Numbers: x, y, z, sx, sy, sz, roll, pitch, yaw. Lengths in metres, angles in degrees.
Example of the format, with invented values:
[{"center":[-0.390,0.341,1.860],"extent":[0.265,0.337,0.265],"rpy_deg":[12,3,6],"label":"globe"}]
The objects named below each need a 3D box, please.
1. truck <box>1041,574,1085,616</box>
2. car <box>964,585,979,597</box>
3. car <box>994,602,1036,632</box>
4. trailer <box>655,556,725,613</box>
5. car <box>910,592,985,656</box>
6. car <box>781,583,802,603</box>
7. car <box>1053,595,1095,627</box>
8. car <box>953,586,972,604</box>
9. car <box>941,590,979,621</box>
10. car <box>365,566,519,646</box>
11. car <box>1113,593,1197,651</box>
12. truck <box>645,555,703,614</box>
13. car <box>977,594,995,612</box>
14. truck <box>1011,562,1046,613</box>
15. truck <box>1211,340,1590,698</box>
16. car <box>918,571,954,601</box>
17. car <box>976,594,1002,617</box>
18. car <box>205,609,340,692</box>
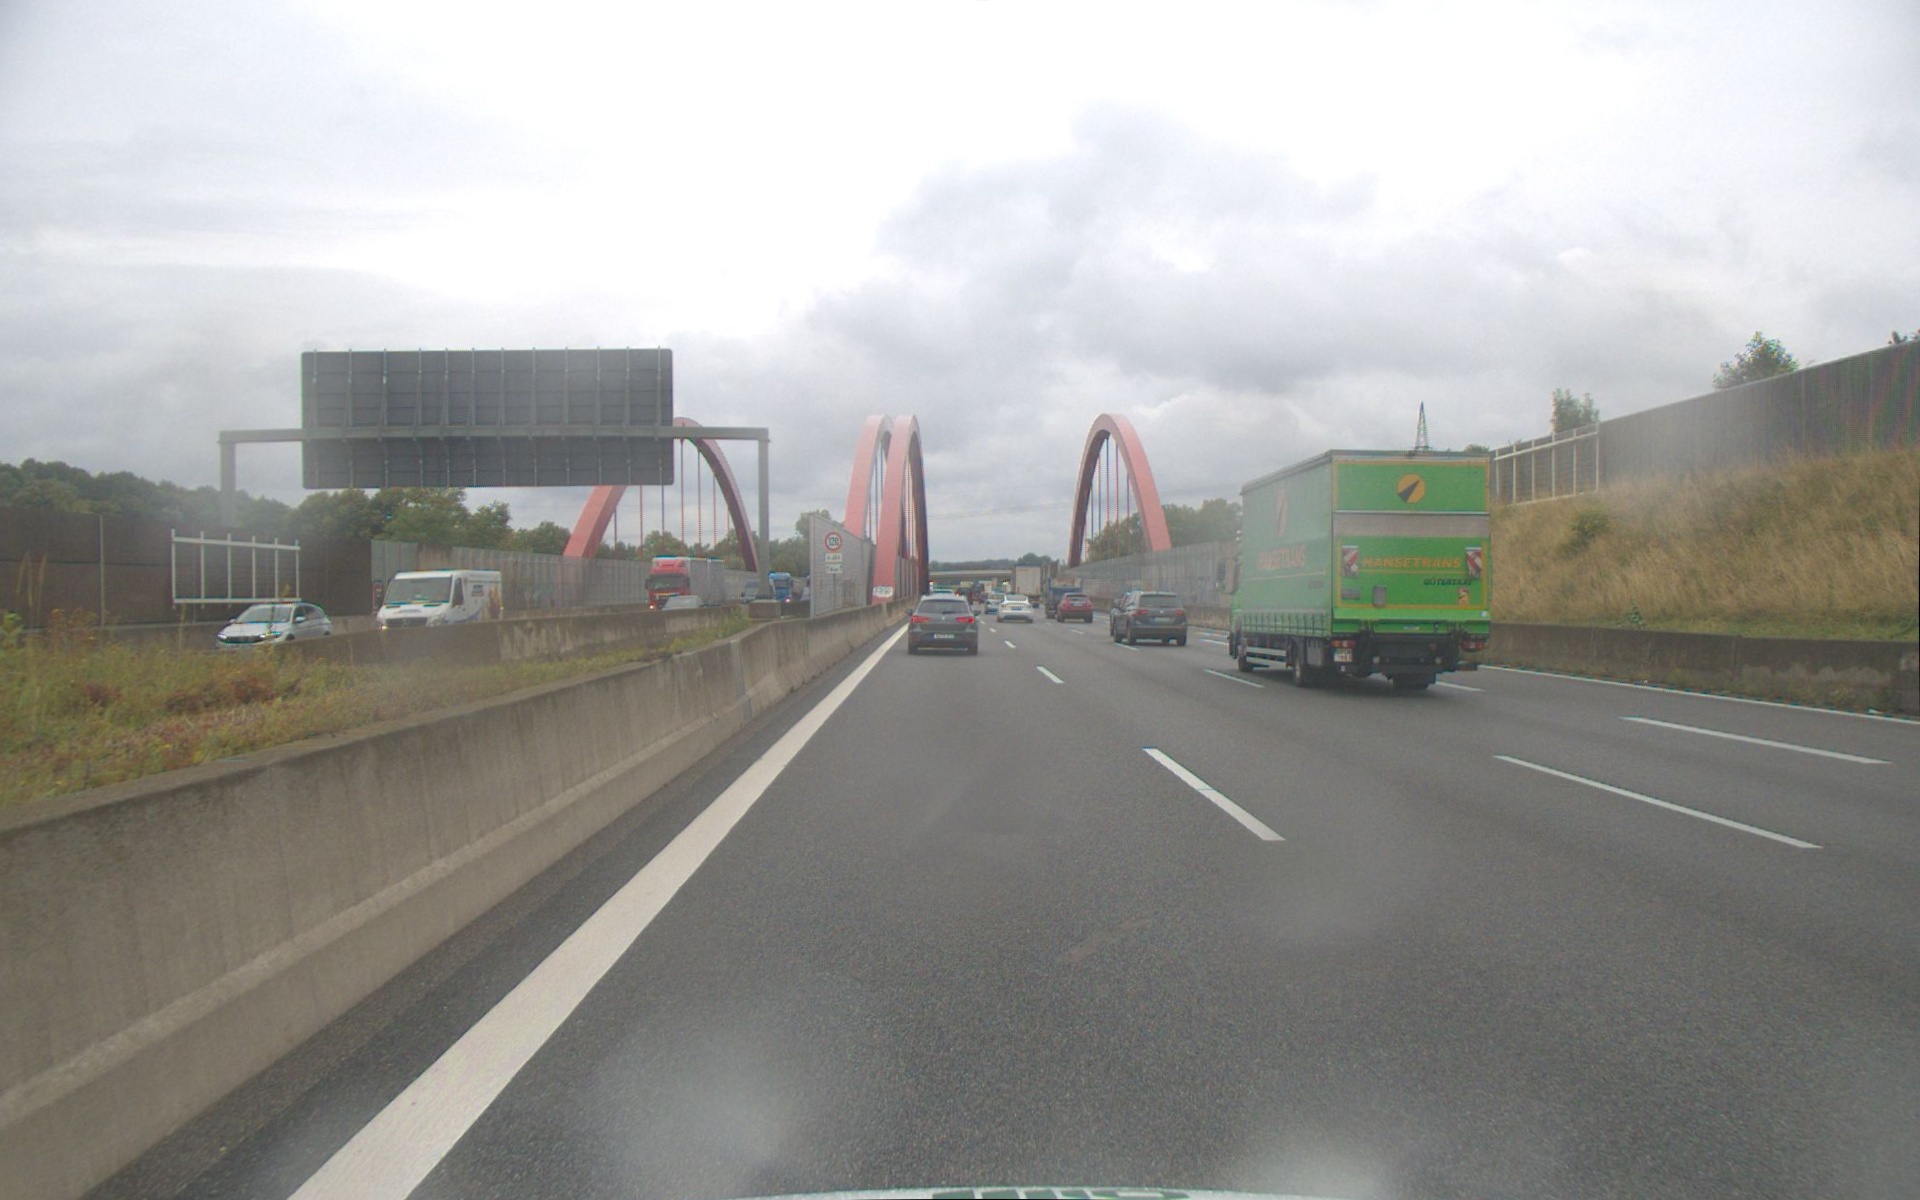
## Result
[{"center":[6.492,-0.342,104.913],"extent":[2.313,2.550,6.143],"rpy_deg":[1,0,0],"label":"truck"},{"center":[1.566,-1.219,223.406],"extent":[1.952,1.652,4.001],"rpy_deg":[1,0,2],"label":"car"},{"center":[2.853,0.885,86.616],"extent":[1.953,1.512,3.999],"rpy_deg":[1,0,-1],"label":"car"},{"center":[-19.306,-1.089,119.165],"extent":[2.923,3.794,14.305],"rpy_deg":[1,0,-1],"label":"trailer"},{"center":[-0.299,0.556,40.761],"extent":[1.728,1.478,4.000],"rpy_deg":[1,0,0],"label":"car"},{"center":[-17.753,-0.729,174.255],"extent":[1.954,2.049,4.189],"rpy_deg":[1,0,-3],"label":"car"},{"center":[6.219,0.574,90.514],"extent":[1.917,1.676,3.999],"rpy_deg":[1,0,-1],"label":"car"},{"center":[0.255,-0.522,174.693],"extent":[1.953,1.847,4.000],"rpy_deg":[1,0,-1],"label":"car"},{"center":[-0.022,0.244,80.888],"extent":[1.745,1.431,3.625],"rpy_deg":[1,0,-1],"label":"car"},{"center":[-14.460,0.144,46.711],"extent":[2.169,2.049,7.058],"rpy_deg":[1,0,-1],"label":"car"},{"center":[5.997,0.634,51.267],"extent":[1.874,1.699,4.101],"rpy_deg":[1,0,-3],"label":"car"},{"center":[-19.140,-1.003,111.147],"extent":[2.923,3.819,5.916],"rpy_deg":[1,0,-1],"label":"truck"},{"center":[3.026,0.352,194.128],"extent":[1.953,2.049,3.999],"rpy_deg":[1,0,-1],"label":"car"},{"center":[6.616,-1.201,161.096],"extent":[2.982,4.817,7.679],"rpy_deg":[1,0,0],"label":"truck"},{"center":[7.574,-1.248,30.824],"extent":[3.916,5.358,11.218],"rpy_deg":[1,0,0],"label":"truck"},{"center":[-1.333,-0.771,90.950],"extent":[1.953,1.612,3.999],"rpy_deg":[0,1,-2],"label":"car"},{"center":[2.005,0.379,115.126],"extent":[1.667,1.570,3.838],"rpy_deg":[1,0,-1],"label":"car"},{"center":[-18.018,1.277,43.532],"extent":[1.953,2.015,3.999],"rpy_deg":[1,0,-2],"label":"car"}]
